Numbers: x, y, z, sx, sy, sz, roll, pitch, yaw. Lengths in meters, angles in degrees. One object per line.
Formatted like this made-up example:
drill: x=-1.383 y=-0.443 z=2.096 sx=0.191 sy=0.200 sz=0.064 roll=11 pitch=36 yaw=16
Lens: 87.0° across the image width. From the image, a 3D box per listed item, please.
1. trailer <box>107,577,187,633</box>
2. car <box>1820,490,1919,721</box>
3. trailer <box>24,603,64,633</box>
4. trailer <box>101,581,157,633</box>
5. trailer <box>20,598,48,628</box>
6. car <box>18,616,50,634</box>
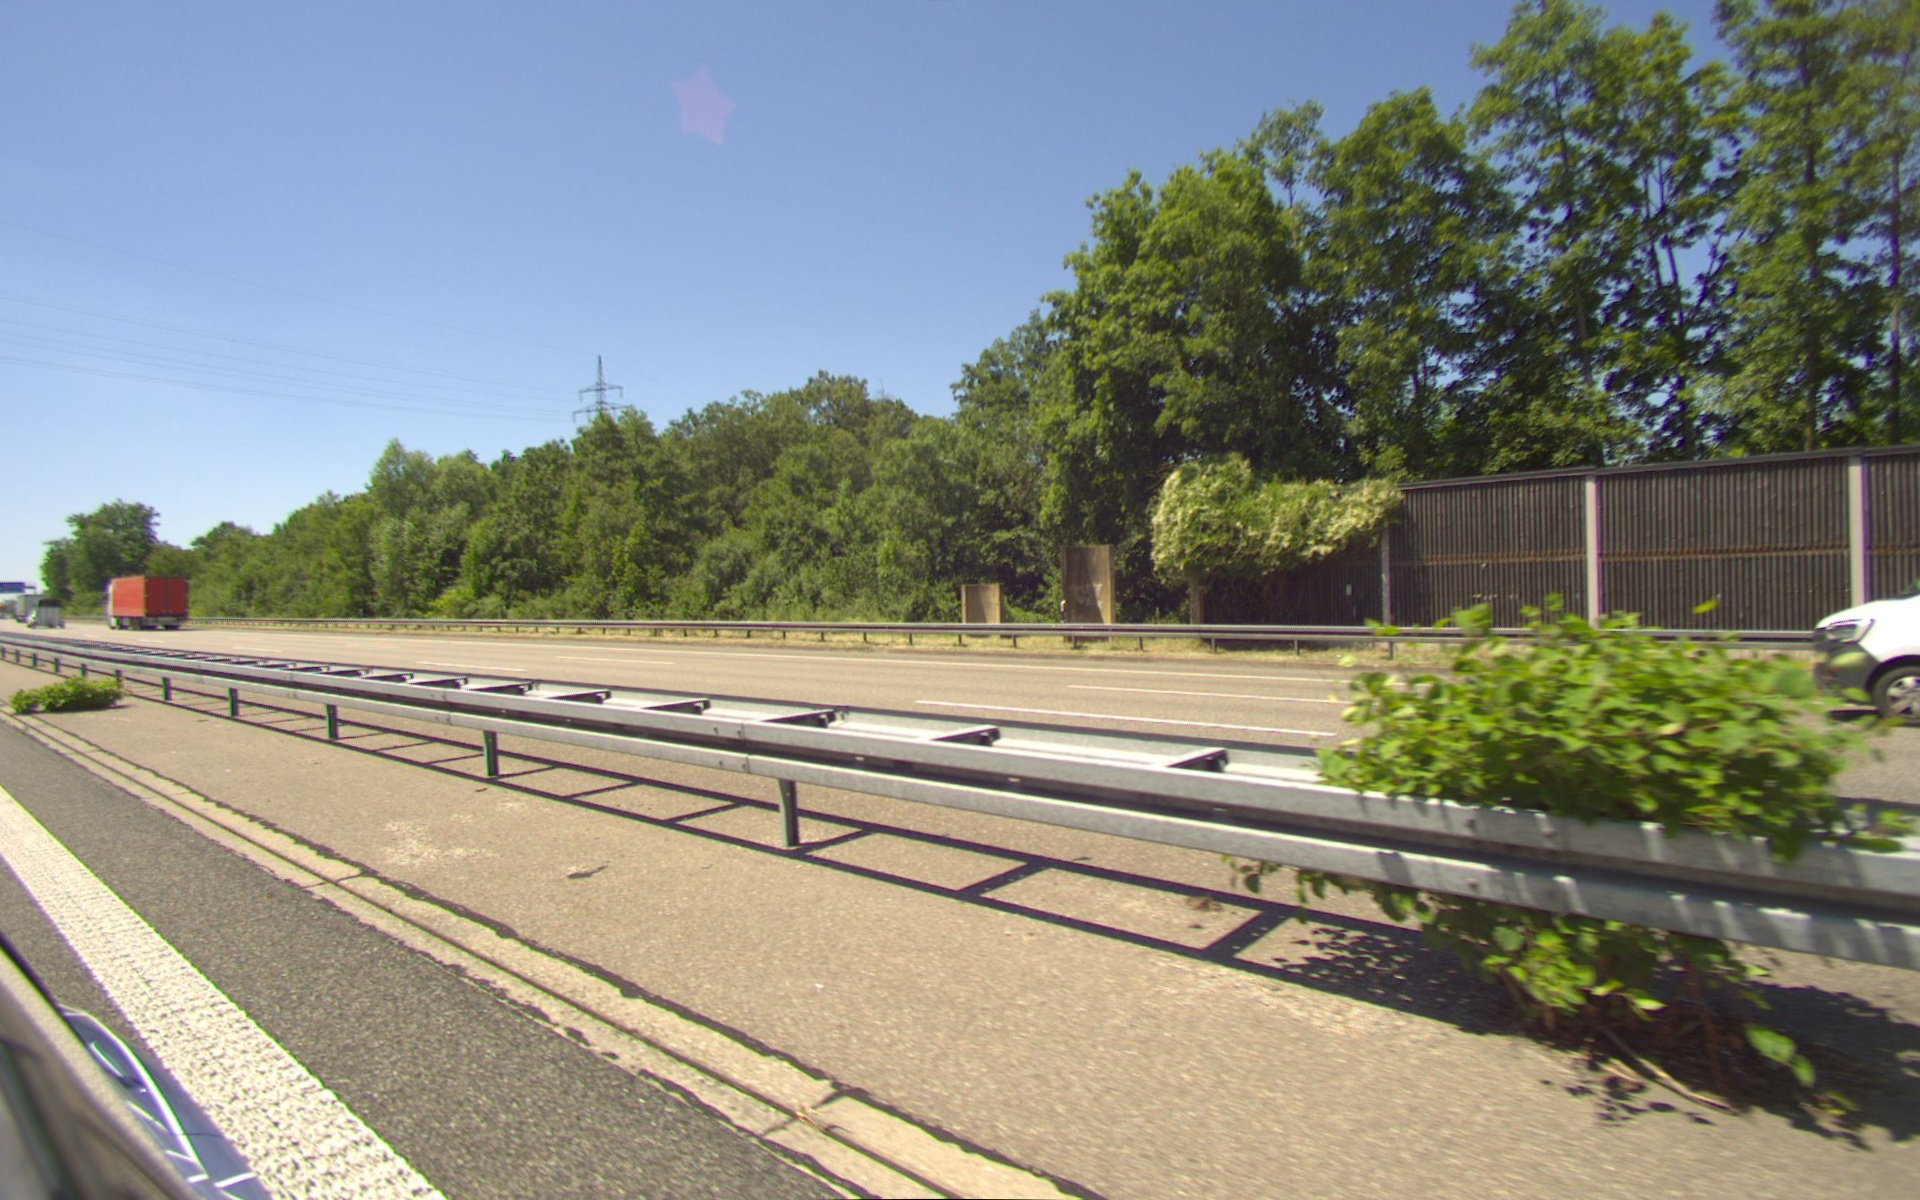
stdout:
trailer: x=-63.369 y=0.456 z=78.700 sx=14.048 sy=4.098 sz=2.655 roll=-1 pitch=-1 yaw=42
car: x=12.325 y=0.028 z=10.277 sx=5.409 sy=2.449 sz=2.003 roll=-1 pitch=-1 yaw=40
trailer: x=-82.966 y=1.663 z=91.632 sx=4.953 sy=2.633 sz=2.064 roll=-1 pitch=-1 yaw=41
trailer: x=-68.285 y=0.578 z=83.147 sx=6.035 sy=4.072 sz=2.660 roll=-1 pitch=-1 yaw=42
trailer: x=-131.970 y=1.873 z=144.198 sx=2.639 sy=3.996 sz=13.674 roll=0 pitch=-1 yaw=-44
car: x=-86.479 y=2.313 z=94.495 sx=4.017 sy=1.644 sz=1.817 roll=-1 pitch=-1 yaw=41
